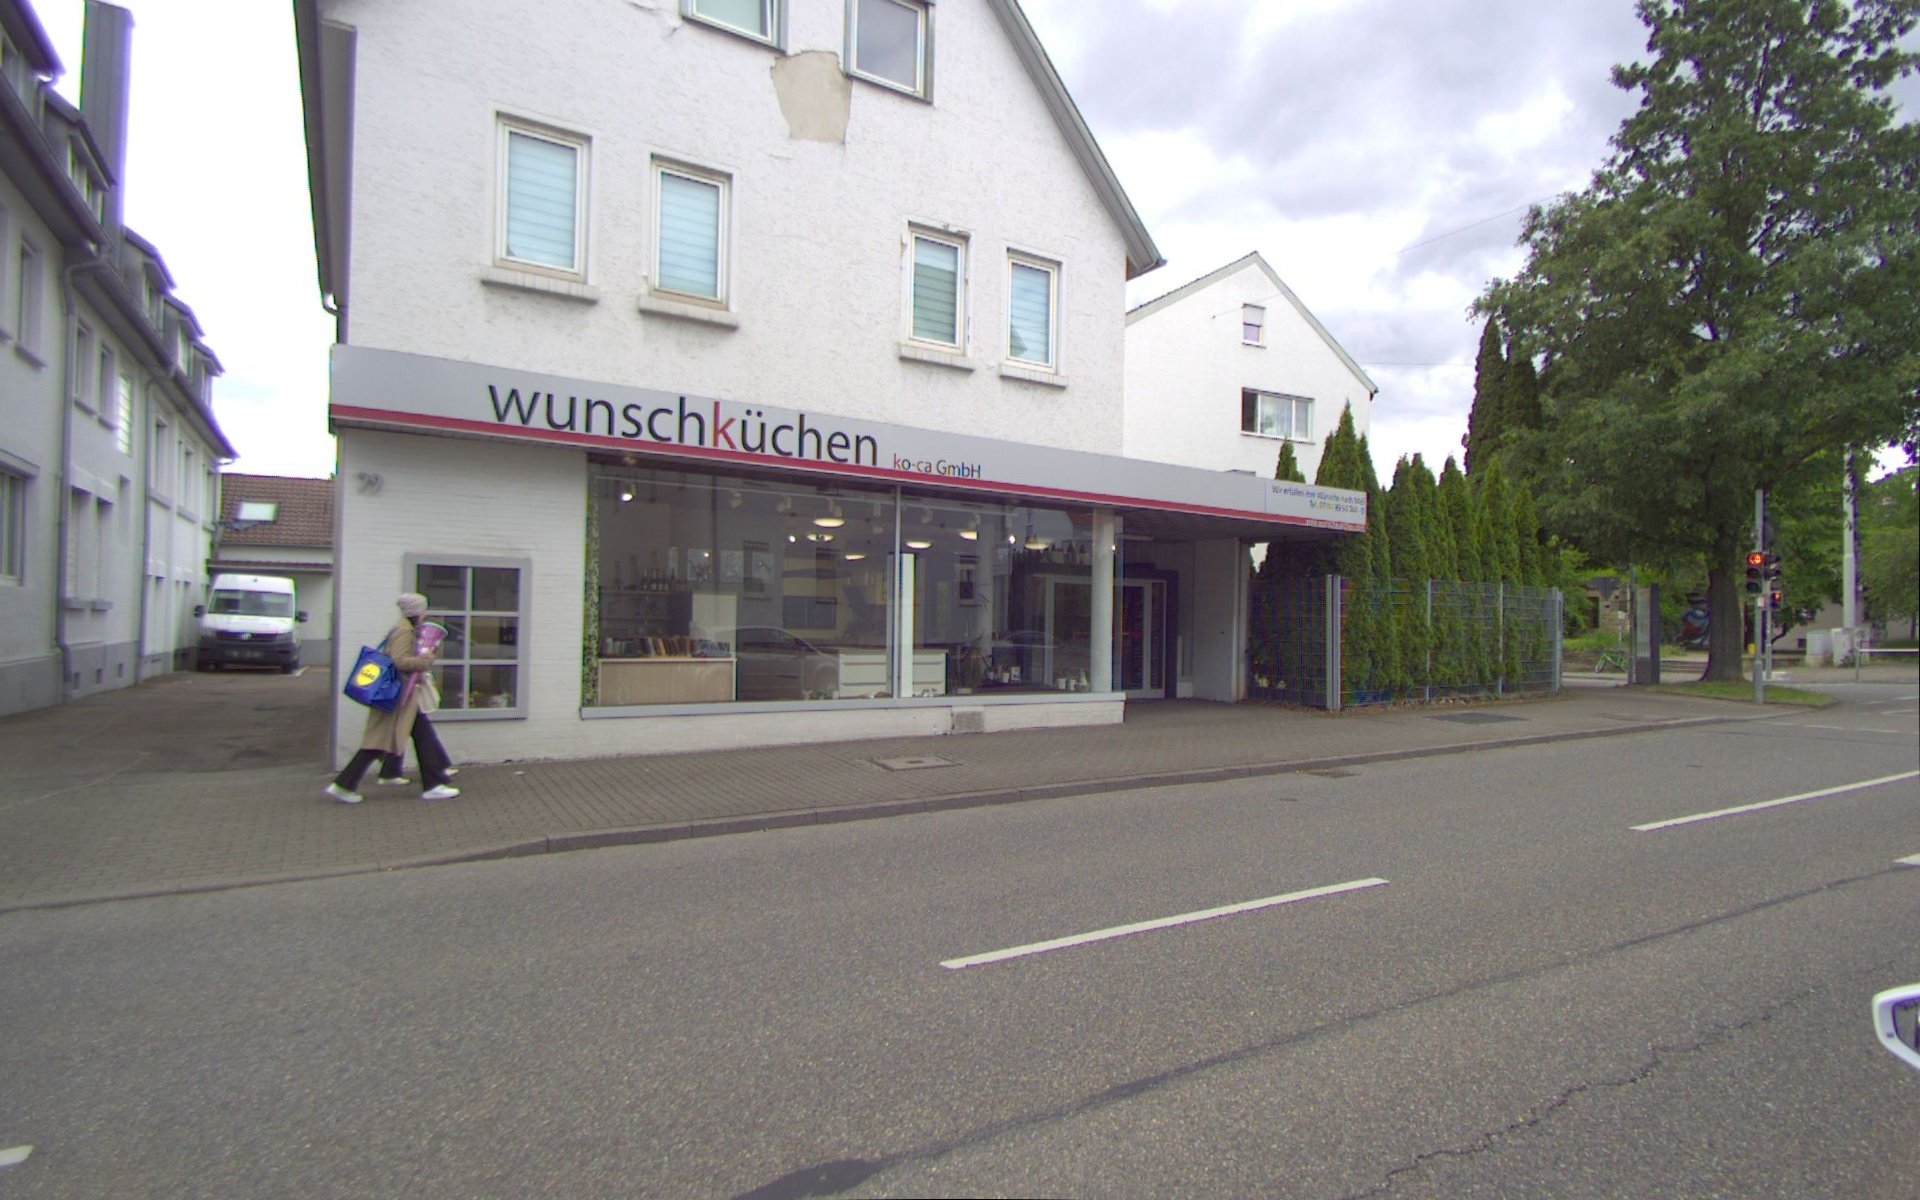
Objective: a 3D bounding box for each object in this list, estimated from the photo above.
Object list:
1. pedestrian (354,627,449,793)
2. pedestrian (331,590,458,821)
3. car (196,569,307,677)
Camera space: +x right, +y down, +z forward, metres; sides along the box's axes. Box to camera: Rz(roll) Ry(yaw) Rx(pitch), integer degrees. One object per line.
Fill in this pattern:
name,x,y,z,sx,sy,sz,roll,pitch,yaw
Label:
pedestrian,-4.673,0.892,8.408,0.647,1.297,0.596,1,1,-31
pedestrian,-4.350,0.768,7.736,0.784,1.638,0.747,1,2,-31
car,-19.065,0.586,27.255,1.938,2.541,5.943,4,-2,-32
